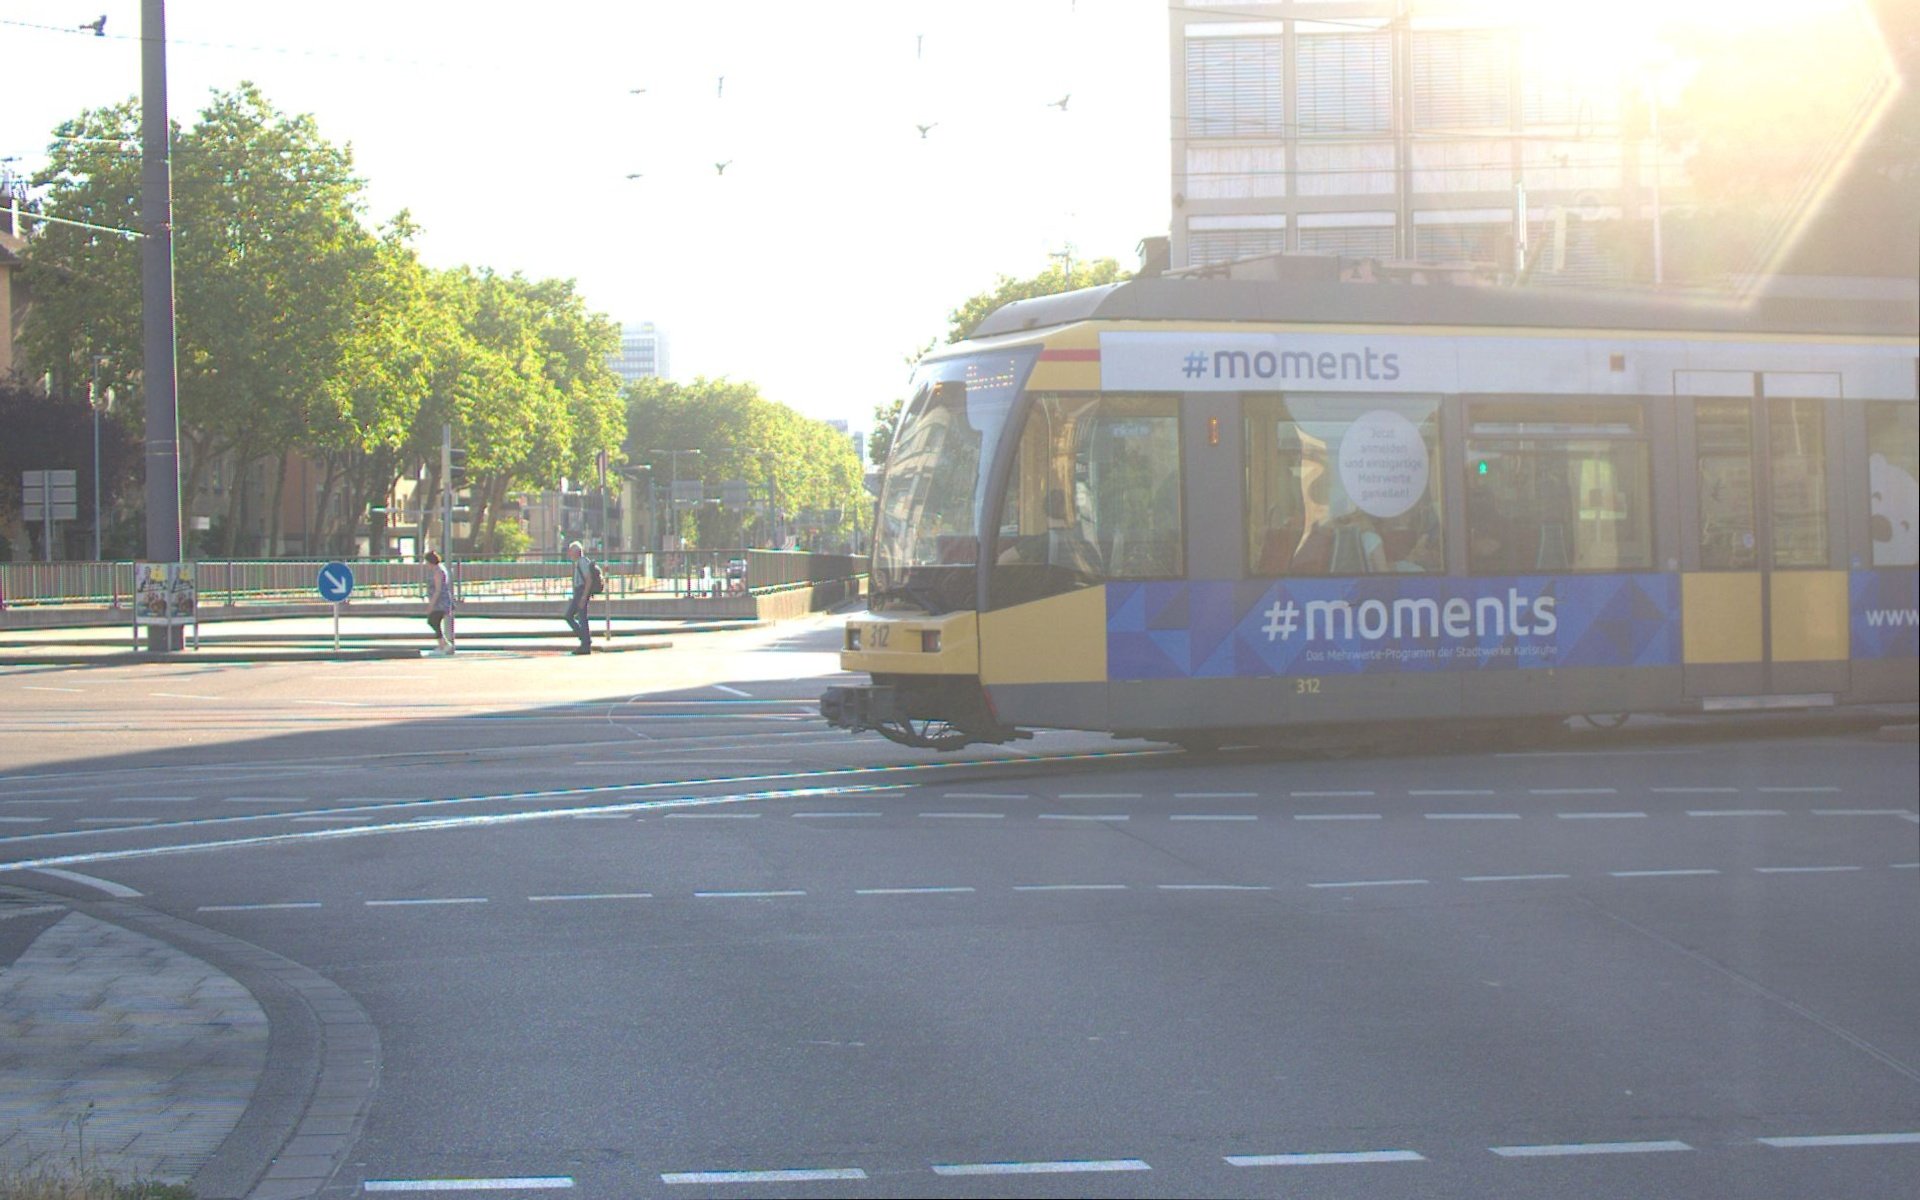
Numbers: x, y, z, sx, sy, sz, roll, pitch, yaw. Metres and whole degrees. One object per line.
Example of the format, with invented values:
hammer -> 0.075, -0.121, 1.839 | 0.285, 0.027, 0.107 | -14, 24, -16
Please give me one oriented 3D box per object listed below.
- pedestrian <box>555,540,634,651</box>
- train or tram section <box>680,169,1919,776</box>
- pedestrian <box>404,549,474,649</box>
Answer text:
pedestrian -> -5.751, -0.069, 54.190 | 1.194, 1.725, 0.856 | 1, 0, -5
train or tram section -> 4.770, -0.907, 26.298 | 13.314, 3.820, 3.716 | -1, 0, -27
pedestrian -> -7.929, -0.011, 52.310 | 0.853, 1.460, 0.686 | 1, -5, -29
